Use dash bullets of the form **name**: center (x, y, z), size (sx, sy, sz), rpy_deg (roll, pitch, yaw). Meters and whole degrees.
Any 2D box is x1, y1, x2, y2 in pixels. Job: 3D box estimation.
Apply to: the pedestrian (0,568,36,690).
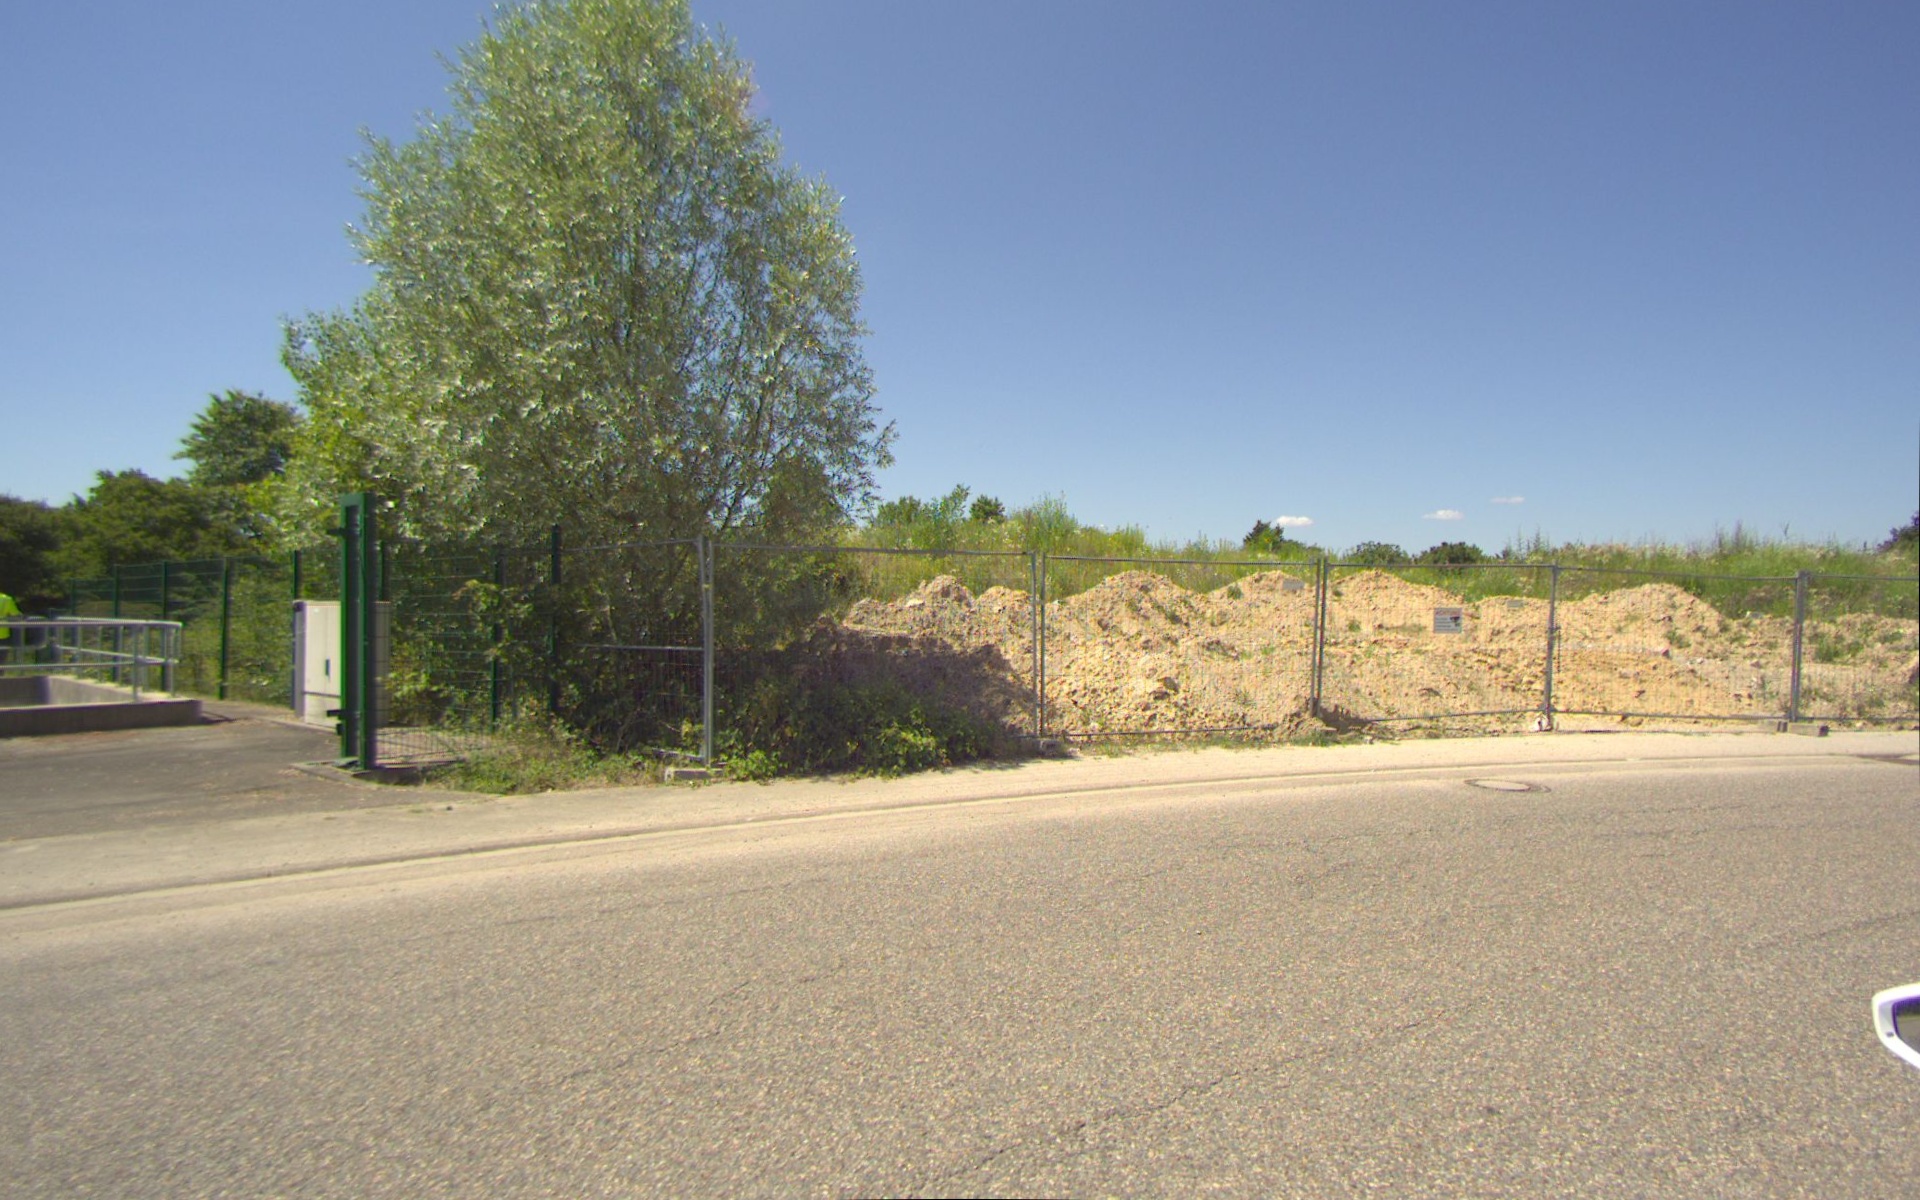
- **pedestrian**: center (-14.914, 0.449, 15.529), size (0.598, 1.863, 0.802), rpy_deg (-1, -2, 37)
